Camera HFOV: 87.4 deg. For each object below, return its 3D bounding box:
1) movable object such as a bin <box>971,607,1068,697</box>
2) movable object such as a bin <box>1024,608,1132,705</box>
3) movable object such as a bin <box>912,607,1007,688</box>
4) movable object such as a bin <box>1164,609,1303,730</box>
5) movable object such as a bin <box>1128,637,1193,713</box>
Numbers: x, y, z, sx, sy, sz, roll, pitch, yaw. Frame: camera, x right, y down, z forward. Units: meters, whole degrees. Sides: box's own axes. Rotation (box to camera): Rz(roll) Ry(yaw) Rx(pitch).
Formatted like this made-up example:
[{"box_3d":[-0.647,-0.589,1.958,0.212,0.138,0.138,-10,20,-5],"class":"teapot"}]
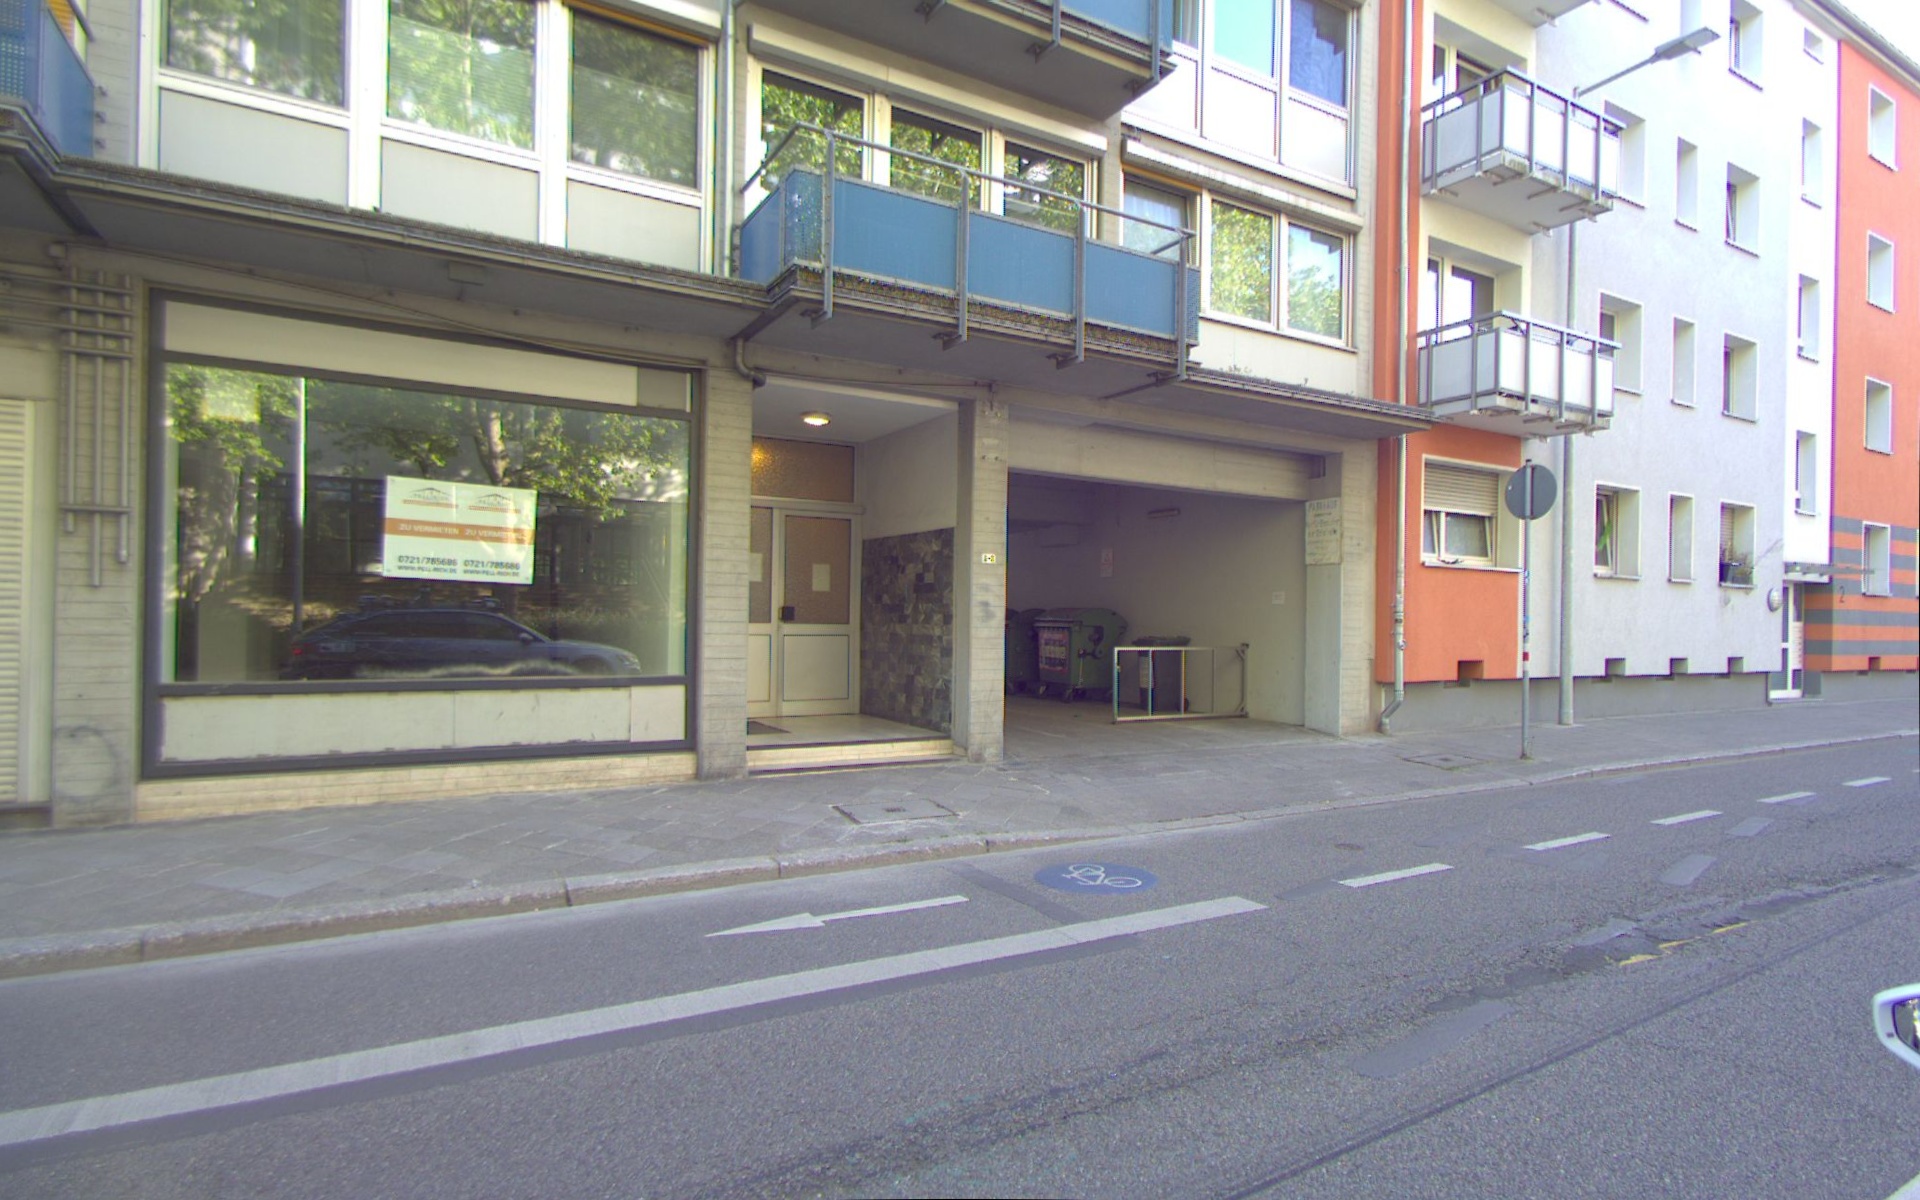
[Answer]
[{"box_3d":[0.998,0.864,17.179,1.119,1.449,1.322,1,0,-28],"class":"movable object such as a bin"},{"box_3d":[1.850,0.859,15.856,1.128,1.449,1.342,1,0,-28],"class":"movable object such as a bin"},{"box_3d":[-0.029,0.862,18.882,1.119,1.449,1.666,1,0,-28],"class":"movable object such as a bin"},{"box_3d":[3.490,0.848,12.908,1.119,1.449,1.322,1,0,-28],"class":"movable object such as a bin"},{"box_3d":[2.900,1.072,14.538,0.695,1.055,0.593,2,0,-30],"class":"movable object such as a bin"}]
